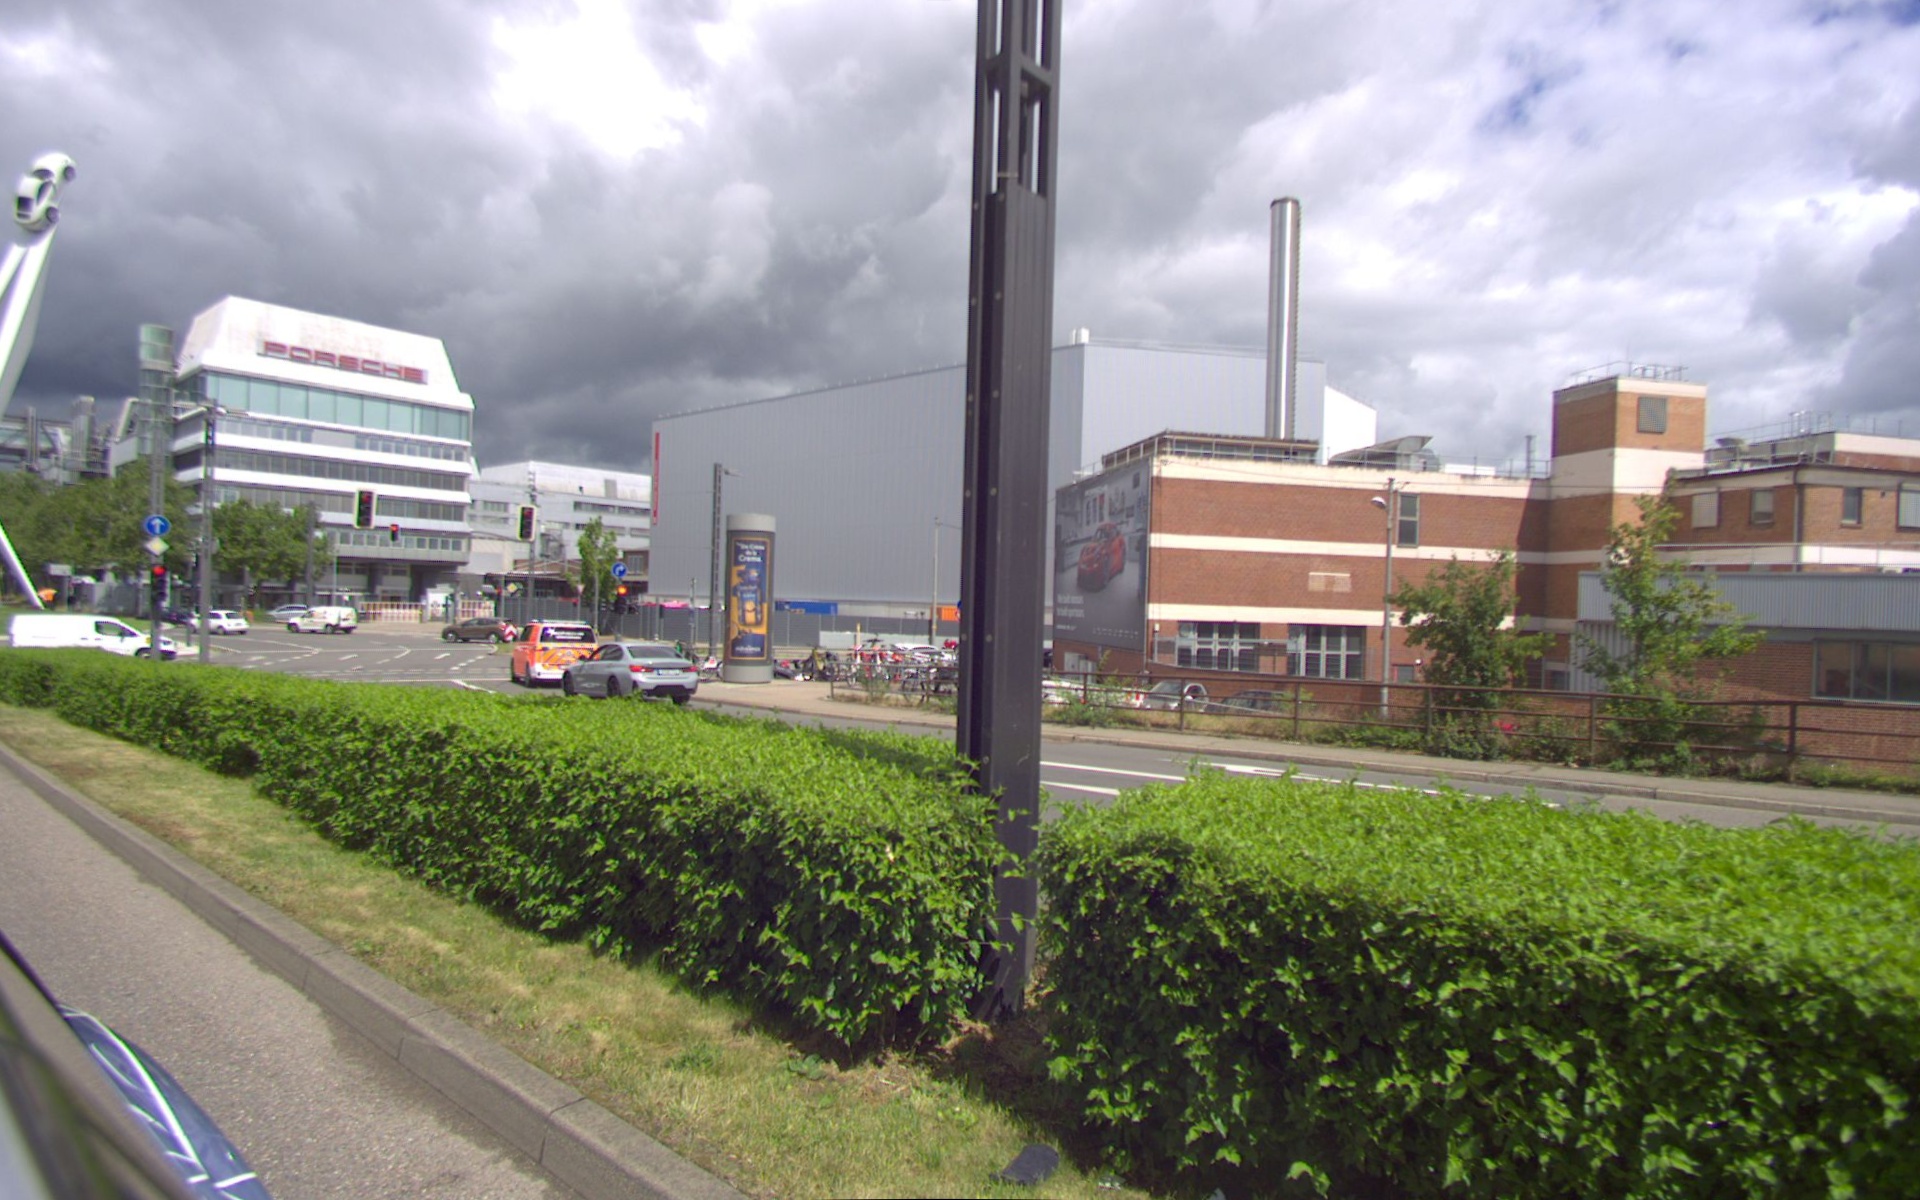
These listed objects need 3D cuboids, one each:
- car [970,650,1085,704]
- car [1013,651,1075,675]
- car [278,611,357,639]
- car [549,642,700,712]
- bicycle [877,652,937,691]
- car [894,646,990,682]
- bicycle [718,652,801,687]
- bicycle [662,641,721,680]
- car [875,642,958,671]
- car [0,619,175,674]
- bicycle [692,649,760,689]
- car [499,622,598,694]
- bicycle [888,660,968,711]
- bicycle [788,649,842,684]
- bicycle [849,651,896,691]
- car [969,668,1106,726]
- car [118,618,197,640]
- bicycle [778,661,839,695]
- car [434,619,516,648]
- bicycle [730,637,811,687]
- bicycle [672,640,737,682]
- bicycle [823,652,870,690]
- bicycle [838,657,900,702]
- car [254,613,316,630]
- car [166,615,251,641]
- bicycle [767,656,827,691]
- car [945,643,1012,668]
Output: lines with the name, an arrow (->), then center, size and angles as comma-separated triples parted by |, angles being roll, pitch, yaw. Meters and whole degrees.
car -> 2.533, 2.854, 38.042 | 3.930, 1.875, 1.757 | 1, -2, -21
car -> 4.816, 3.599, 57.945 | 3.564, 1.251, 1.470 | 2, -3, -42
car -> -44.011, 1.724, 69.385 | 4.350, 1.843, 1.995 | 0, -1, 8
car -> -8.069, 1.761, 24.095 | 1.774, 1.433, 4.498 | 4, -3, -41
bicycle -> -1.394, 1.897, 27.117 | 0.619, 0.996, 1.929 | -2, -3, 31
car -> -0.810, 2.845, 45.183 | 3.930, 1.517, 1.757 | 1, -2, -21
bicycle -> -7.904, 2.732, 39.979 | 3.028, 1.276, 1.167 | 1, -2, -24
bicycle -> -9.304, 2.068, 35.068 | 1.861, 1.277, 0.669 | 1, -2, -42
car -> -2.190, 2.844, 51.470 | 4.123, 1.380, 1.623 | 2, -2, -42
car -> -30.969, 1.623, 35.933 | 4.790, 1.837, 2.003 | 2, -2, -40
bicycle -> -7.301, 2.151, 31.677 | 2.012, 1.176, 0.622 | 2, -2, -41
car -> -12.402, 1.655, 30.314 | 1.966, 1.973, 4.641 | 1, -1, -32
bicycle -> -0.695, 1.786, 21.364 | 0.513, 0.996, 1.951 | 2, -3, -44
bicycle -> -4.360, 1.984, 30.357 | 1.950, 0.996, 0.513 | -2, -3, 44
bicycle -> -2.367, 1.912, 27.541 | 0.616, 0.996, 1.939 | -1, -2, 16
car -> 2.084, 2.589, 27.608 | 3.570, 1.330, 1.436 | -1, -2, 39
car -> -56.650, 2.057, 71.490 | 4.191, 1.523, 1.935 | 0, -1, 5
bicycle -> -5.300, 2.722, 35.437 | 2.024, 1.121, 0.674 | 1, -2, -35
car -> -29.788, 2.037, 62.291 | 4.132, 1.708, 1.956 | 1, -1, -6
bicycle -> -8.095, 2.623, 43.326 | 3.217, 2.029, 1.078 | 1, -1, -27
bicycle -> -8.254, 1.955, 32.699 | 1.860, 1.277, 0.851 | 1, -2, -38
bicycle -> -3.107, 1.932, 27.871 | 0.616, 0.996, 1.939 | -1, -2, 16
bicycle -> -2.932, 2.547, 32.680 | 1.926, 1.355, 0.713 | 1, -2, -38
car -> -54.878, 1.756, 82.333 | 3.891, 1.388, 1.633 | 1, -2, -15
car -> -48.741, 1.794, 65.657 | 4.192, 1.591, 1.996 | 0, -1, 6
bicycle -> -6.095, 2.730, 37.811 | 2.077, 1.265, 0.742 | 1, -2, -31
car -> 1.020, 2.972, 54.664 | 3.564, 1.251, 1.470 | 2, -2, -42
